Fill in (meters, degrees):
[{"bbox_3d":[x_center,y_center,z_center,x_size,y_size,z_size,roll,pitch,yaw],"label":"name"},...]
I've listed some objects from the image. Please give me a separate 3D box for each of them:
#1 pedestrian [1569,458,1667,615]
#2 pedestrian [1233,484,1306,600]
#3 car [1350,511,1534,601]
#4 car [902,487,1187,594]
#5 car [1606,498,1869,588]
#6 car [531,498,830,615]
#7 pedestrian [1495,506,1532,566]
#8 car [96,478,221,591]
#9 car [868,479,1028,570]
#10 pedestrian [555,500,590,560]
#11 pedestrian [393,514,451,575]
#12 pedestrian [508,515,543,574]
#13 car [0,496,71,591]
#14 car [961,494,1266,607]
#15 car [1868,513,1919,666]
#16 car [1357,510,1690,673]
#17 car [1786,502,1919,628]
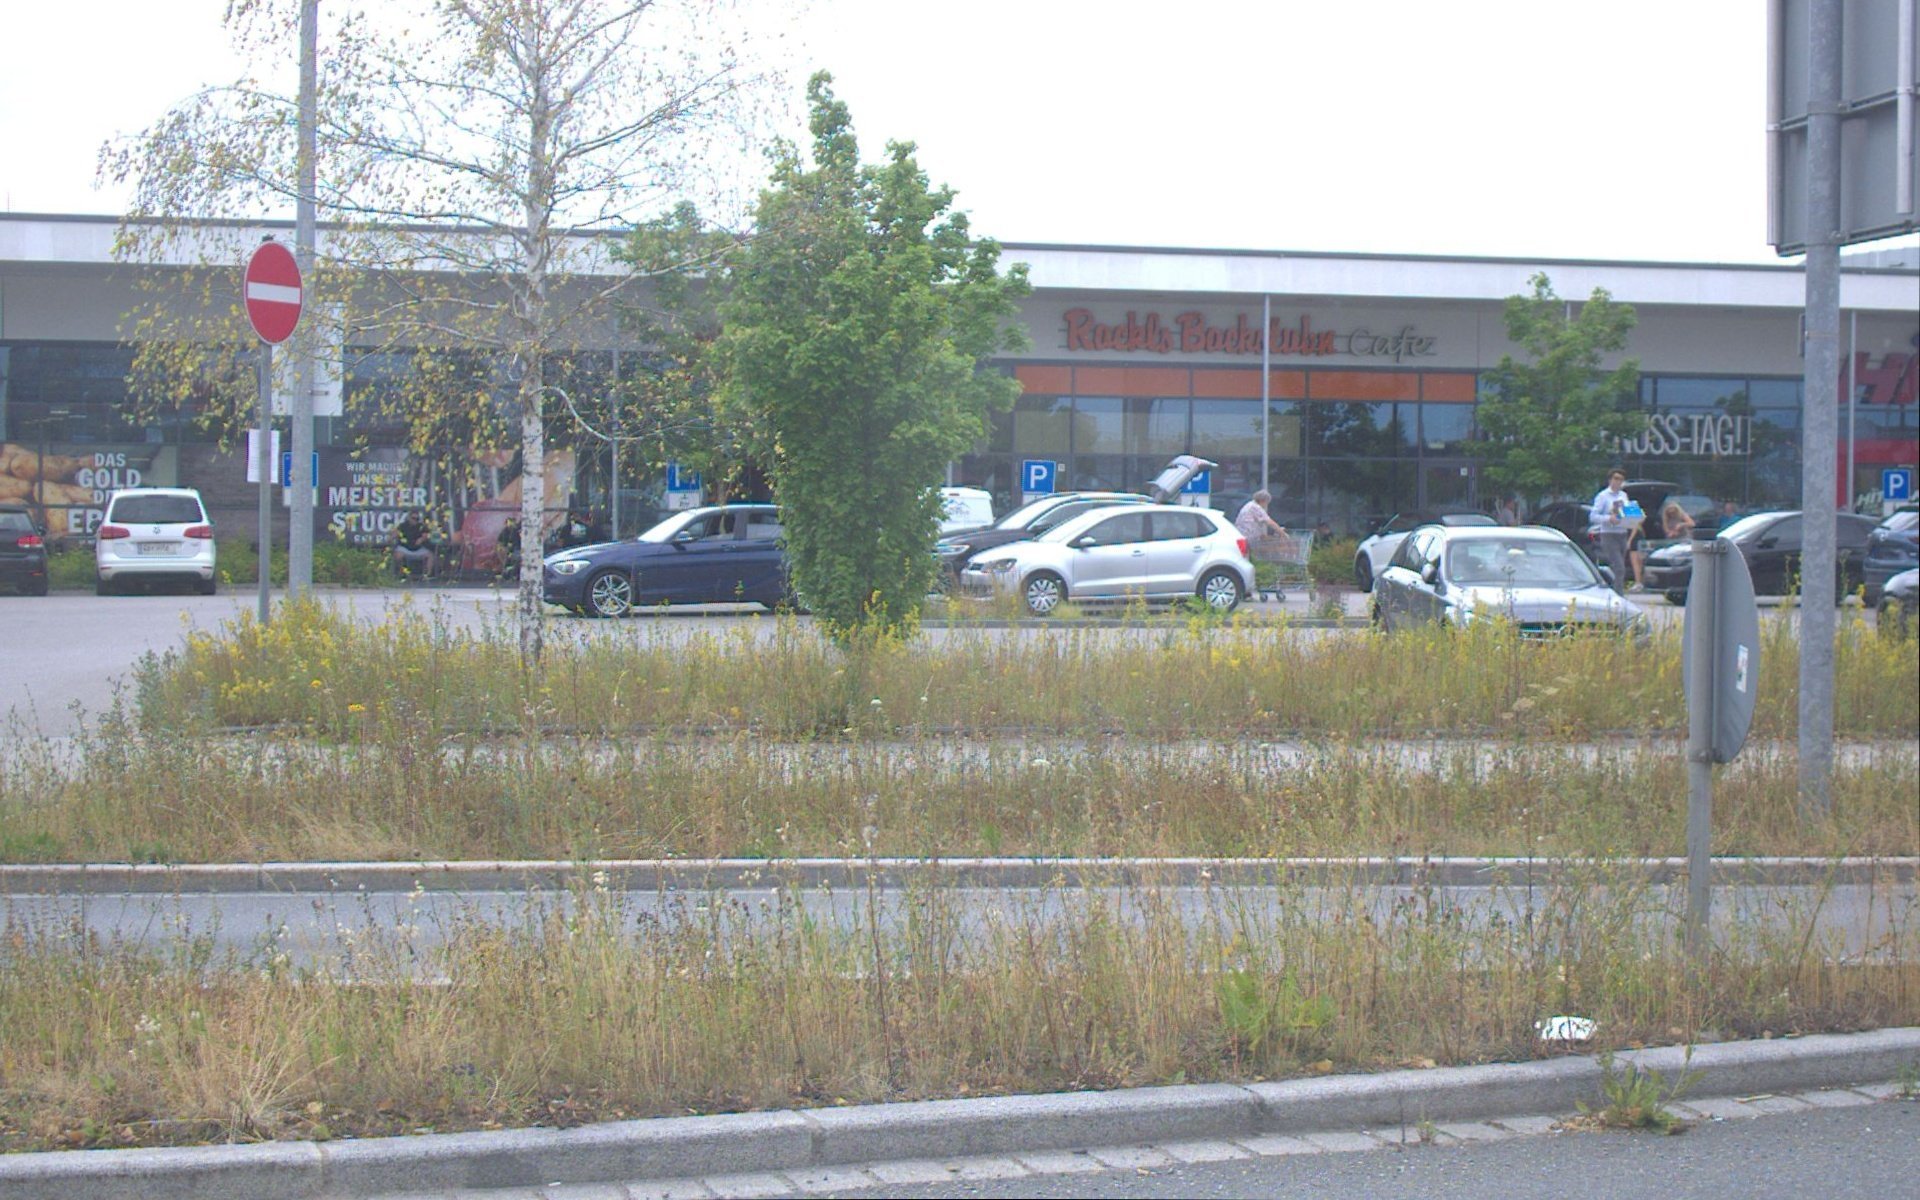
[{"bbox_3d":[8.568,-0.833,44.795,1.000,2.006,0.868,1,2,-6],"label":"pedestrian"},{"bbox_3d":[4.429,-0.834,49.237,0.821,1.626,0.899,1,1,-9],"label":"pedestrian"},{"bbox_3d":[8.567,-0.812,61.470,1.993,1.503,4.002,0,2,-12],"label":"car"},{"bbox_3d":[1.188,-0.854,48.986,3.745,1.449,1.668,0,2,-14],"label":"car"},{"bbox_3d":[13.565,-1.000,60.096,3.986,1.503,2.001,0,2,-12],"label":"car"},{"bbox_3d":[-3.625,-0.570,44.415,3.606,1.449,1.668,0,2,-15],"label":"car"},{"bbox_3d":[11.140,-1.286,69.193,0.560,1.197,0.528,0,2,-14],"label":"pedestrian"},{"bbox_3d":[-12.976,-1.097,55.828,1.823,1.694,4.235,0,3,-11],"label":"car"},{"bbox_3d":[-0.247,-1.321,59.284,1.993,1.503,4.002,0,2,-12],"label":"car"},{"bbox_3d":[-7.368,-1.332,65.356,0.576,1.120,0.562,0,2,-17],"label":"pedestrian"},{"bbox_3d":[-10.334,-1.068,66.061,0.970,1.150,1.133,0,2,-15],"label":"pedestrian"},{"bbox_3d":[-8.348,-1.072,66.077,0.576,1.120,0.562,0,2,-17],"label":"pedestrian"},{"bbox_3d":[-15.361,-0.937,55.148,1.906,1.439,4.001,0,2,-11],"label":"car"},{"bbox_3d":[2.039,-0.672,46.112,3.745,1.449,1.668,0,2,-14],"label":"car"},{"bbox_3d":[10.185,-0.068,31.986,1.988,1.446,4.151,1,1,-6],"label":"car"},{"bbox_3d":[5.117,-0.121,31.807,1.988,1.379,4.151,1,1,-6],"label":"car"},{"bbox_3d":[12.964,-0.515,47.488,1.814,1.647,4.001,0,2,-5],"label":"car"}]
